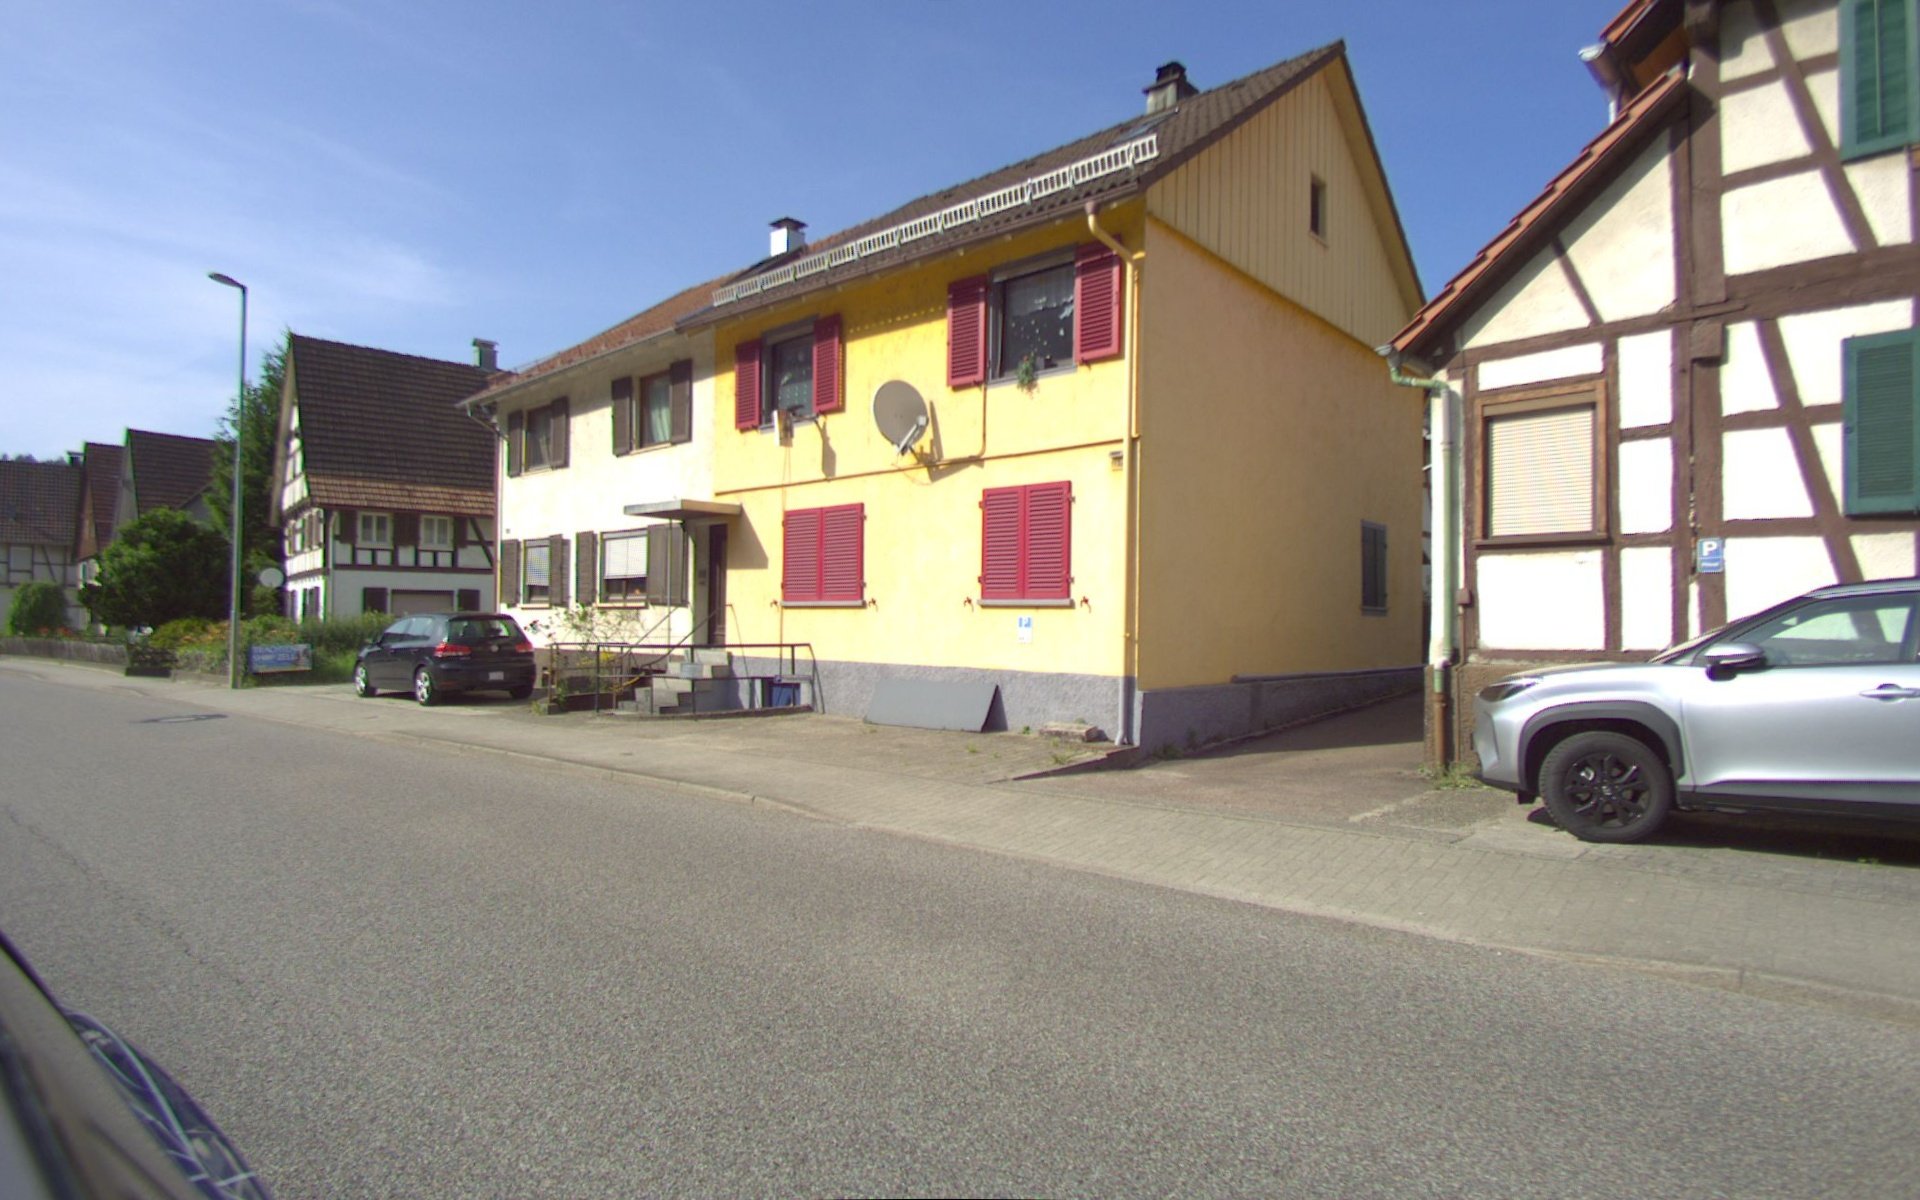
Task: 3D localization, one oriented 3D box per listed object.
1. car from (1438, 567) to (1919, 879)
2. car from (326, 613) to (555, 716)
[{"bbox_3d":[5.203,0.648,5.811,4.092,1.530,1.864,-2,-4,41],"label":"car"},{"bbox_3d":[-8.931,1.015,17.271,4.230,1.530,1.867,-1,-1,37],"label":"car"}]
